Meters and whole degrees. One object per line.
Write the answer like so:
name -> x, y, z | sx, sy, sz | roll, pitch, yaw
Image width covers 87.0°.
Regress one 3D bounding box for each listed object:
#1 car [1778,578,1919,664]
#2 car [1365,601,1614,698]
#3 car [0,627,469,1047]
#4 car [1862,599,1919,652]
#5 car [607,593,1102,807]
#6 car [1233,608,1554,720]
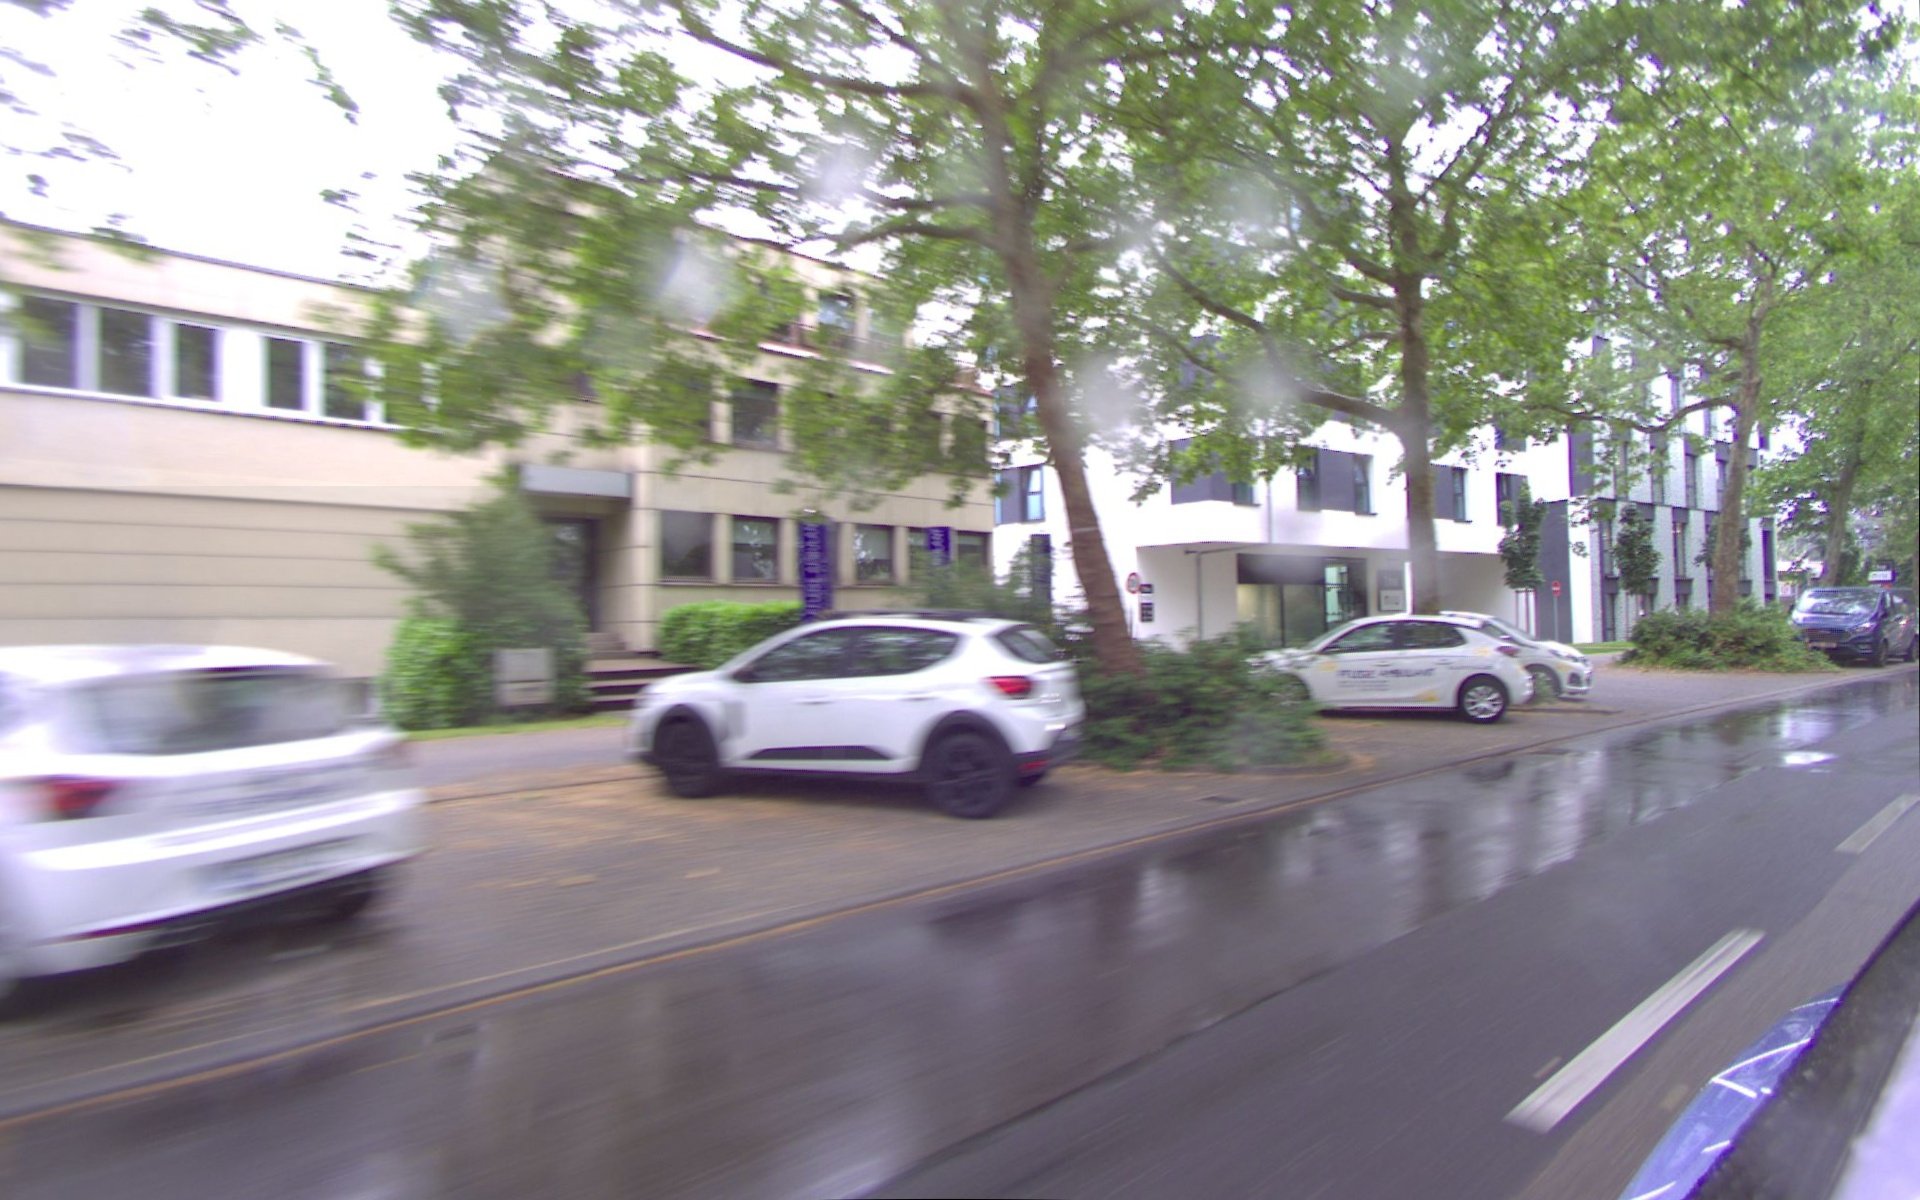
car -> 23.878, 0.496, 26.658 | 5.422, 2.054, 2.128 | -1, -1, -34
car -> 9.216, 0.818, 17.714 | 3.625, 1.524, 1.725 | -1, -2, 37
car -> -4.503, 0.895, 5.126 | 3.653, 1.434, 1.734 | -2, -1, 25
car -> 28.752, 0.728, 30.205 | 4.223, 1.488, 1.749 | -1, -1, -34
car -> -0.896, 0.782, 8.905 | 3.986, 1.559, 1.738 | -1, -1, 20
car -> 6.112, 0.880, 14.653 | 3.989, 1.447, 1.736 | -1, -1, 21
